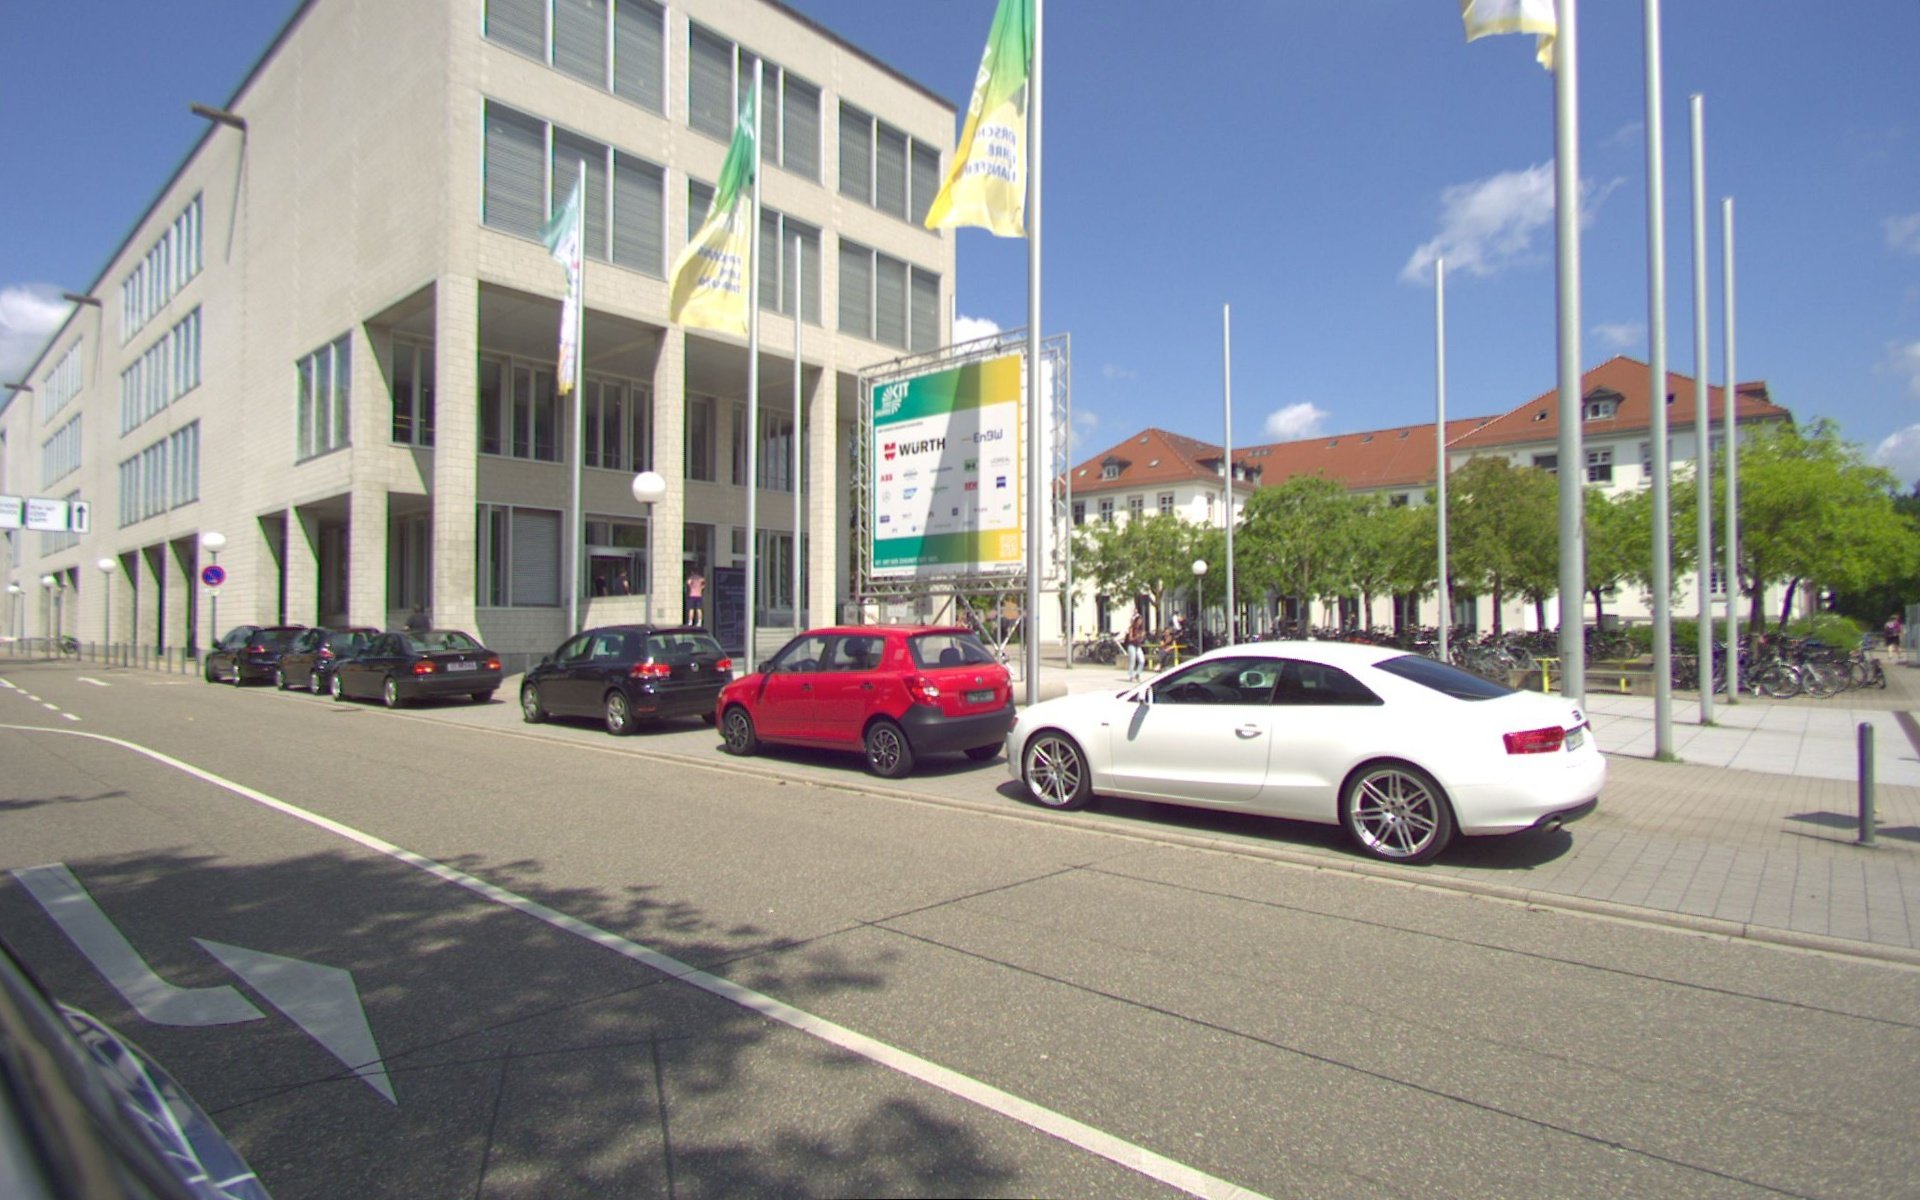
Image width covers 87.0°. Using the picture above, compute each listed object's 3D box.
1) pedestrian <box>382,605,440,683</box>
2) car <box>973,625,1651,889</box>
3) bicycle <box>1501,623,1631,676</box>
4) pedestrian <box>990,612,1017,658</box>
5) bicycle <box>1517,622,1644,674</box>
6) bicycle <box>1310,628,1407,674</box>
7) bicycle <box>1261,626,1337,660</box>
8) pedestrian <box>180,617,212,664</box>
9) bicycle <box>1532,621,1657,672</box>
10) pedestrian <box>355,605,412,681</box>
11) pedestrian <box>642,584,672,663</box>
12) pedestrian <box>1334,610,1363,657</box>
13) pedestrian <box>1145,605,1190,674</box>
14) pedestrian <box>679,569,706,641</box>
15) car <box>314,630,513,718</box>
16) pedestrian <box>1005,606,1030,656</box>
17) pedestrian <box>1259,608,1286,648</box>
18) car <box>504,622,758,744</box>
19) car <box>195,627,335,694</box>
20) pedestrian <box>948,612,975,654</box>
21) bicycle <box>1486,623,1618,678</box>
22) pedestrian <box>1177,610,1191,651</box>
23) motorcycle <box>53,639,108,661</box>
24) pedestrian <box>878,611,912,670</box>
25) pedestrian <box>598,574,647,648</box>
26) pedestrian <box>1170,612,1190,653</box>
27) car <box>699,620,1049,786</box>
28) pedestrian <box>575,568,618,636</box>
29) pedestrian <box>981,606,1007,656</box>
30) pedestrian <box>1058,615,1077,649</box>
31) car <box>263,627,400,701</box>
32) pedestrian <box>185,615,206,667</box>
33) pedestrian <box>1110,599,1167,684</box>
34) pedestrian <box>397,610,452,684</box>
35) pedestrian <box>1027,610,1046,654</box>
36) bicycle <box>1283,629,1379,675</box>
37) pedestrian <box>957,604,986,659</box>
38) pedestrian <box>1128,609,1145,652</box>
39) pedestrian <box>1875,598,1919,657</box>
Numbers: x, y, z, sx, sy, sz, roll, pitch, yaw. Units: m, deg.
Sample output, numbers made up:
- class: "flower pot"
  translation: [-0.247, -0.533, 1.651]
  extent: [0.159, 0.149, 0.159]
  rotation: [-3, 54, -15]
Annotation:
- class: "pedestrian"
  translation: [-14.689, 1.164, 27.084]
  extent: [1.163, 2.029, 0.975]
  rotation: [-2, -2, 37]
- class: "car"
  translation: [2.404, 0.948, 7.834]
  extent: [4.661, 1.406, 1.659]
  rotation: [-2, 0, 42]
- class: "bicycle"
  translation: [17.139, 1.362, 28.704]
  extent: [1.049, 1.422, 2.956]
  rotation: [0, -1, -40]
- class: "pedestrian"
  translation: [1.698, 1.376, 39.754]
  extent: [0.738, 1.787, 0.749]
  rotation: [-2, -2, 41]
- class: "bicycle"
  translation: [17.989, 1.366, 29.428]
  extent: [1.049, 1.422, 2.956]
  rotation: [0, -1, -40]
- class: "bicycle"
  translation: [13.190, 1.663, 33.630]
  extent: [1.128, 1.422, 2.961]
  rotation: [0, -1, -27]
- class: "bicycle"
  translation: [14.579, 1.829, 43.627]
  extent: [1.130, 1.422, 2.956]
  rotation: [0, -1, -40]
- class: "pedestrian"
  translation: [-33.569, 1.777, 44.466]
  extent: [1.065, 2.029, 0.839]
  rotation: [-2, -3, 39]
- class: "bicycle"
  translation: [18.847, 1.362, 30.158]
  extent: [1.049, 1.422, 2.956]
  rotation: [0, -1, -40]
- class: "pedestrian"
  translation: [-15.788, 1.160, 27.736]
  extent: [1.163, 2.029, 0.975]
  rotation: [-2, -2, 37]
- class: "pedestrian"
  translation: [-9.438, 0.731, 31.530]
  extent: [0.748, 2.440, 0.738]
  rotation: [0, -2, -3]
- class: "pedestrian"
  translation: [18.838, 1.631, 49.085]
  extent: [1.041, 2.217, 1.010]
  rotation: [-2, -3, 40]
- class: "pedestrian"
  translation: [6.030, 1.143, 29.377]
  extent: [0.944, 1.955, 0.975]
  rotation: [-2, -2, 38]
- class: "pedestrian"
  translation: [-8.200, 0.158, 31.048]
  extent: [0.693, 2.161, 0.807]
  rotation: [0, -1, -22]
- class: "car"
  translation: [-10.502, 1.319, 19.264]
  extent: [5.016, 1.388, 1.839]
  rotation: [-2, 0, 43]
- class: "pedestrian"
  translation: [2.383, 1.269, 41.937]
  extent: [0.748, 2.029, 0.739]
  rotation: [0, -1, -32]
- class: "pedestrian"
  translation: [16.352, 1.471, 52.978]
  extent: [1.043, 2.029, 0.922]
  rotation: [1, -2, -43]
- class: "car"
  translation: [-4.945, 1.114, 14.892]
  extent: [4.196, 1.478, 1.729]
  rotation: [-2, 0, 43]
- class: "car"
  translation: [-17.735, 1.476, 25.727]
  extent: [4.716, 1.478, 1.840]
  rotation: [-2, 0, 42]
- class: "pedestrian"
  translation: [0.052, 1.276, 39.367]
  extent: [0.722, 1.626, 0.737]
  rotation: [1, -2, -44]
- class: "bicycle"
  translation: [16.288, 1.357, 27.928]
  extent: [1.049, 1.422, 2.956]
  rotation: [0, -1, -40]
- class: "pedestrian"
  translation: [12.158, 1.675, 54.866]
  extent: [0.674, 2.217, 0.620]
  rotation: [-1, -2, 17]
- class: "motorcycle"
  translation: [-48.023, 2.722, 55.294]
  extent: [0.772, 1.146, 2.149]
  rotation: [-2, -2, 31]
- class: "pedestrian"
  translation: [-2.019, 1.244, 31.297]
  extent: [0.757, 1.770, 0.730]
  rotation: [-2, -2, 32]
- class: "pedestrian"
  translation: [-9.487, 0.315, 28.437]
  extent: [0.910, 2.029, 0.967]
  rotation: [-2, -2, 41]
- class: "pedestrian"
  translation: [12.162, 1.789, 56.003]
  extent: [0.956, 2.217, 0.965]
  rotation: [-1, -2, 19]
- class: "car"
  translation: [-1.079, 1.010, 11.270]
  extent: [3.910, 1.478, 1.659]
  rotation: [-2, 0, 42]
- class: "pedestrian"
  translation: [-11.070, 0.072, 30.827]
  extent: [0.974, 2.029, 0.740]
  rotation: [-1, -1, 21]
- class: "pedestrian"
  translation: [1.396, 1.277, 41.817]
  extent: [0.748, 2.029, 0.739]
  rotation: [0, -1, -32]
- class: "pedestrian"
  translation: [6.350, 1.879, 59.833]
  extent: [0.875, 2.029, 0.739]
  rotation: [0, -1, -26]
- class: "car"
  translation: [-14.252, 1.383, 22.890]
  extent: [3.705, 1.478, 1.621]
  rotation: [-2, 0, 42]
- class: "pedestrian"
  translation: [-30.630, 1.629, 40.523]
  extent: [0.835, 2.029, 0.537]
  rotation: [-2, -2, 44]
- class: "pedestrian"
  translation: [4.411, 1.023, 24.977]
  extent: [0.987, 2.029, 1.046]
  rotation: [-2, -2, 38]
- class: "pedestrian"
  translation: [-15.177, 1.323, 28.700]
  extent: [1.163, 2.029, 0.975]
  rotation: [-2, -2, 37]
- class: "pedestrian"
  translation: [3.201, 1.341, 42.399]
  extent: [0.752, 1.851, 0.699]
  rotation: [-1, -1, 7]
- class: "bicycle"
  translation: [12.109, 1.666, 33.164]
  extent: [1.128, 1.422, 2.961]
  rotation: [0, -1, -27]
- class: "pedestrian"
  translation: [0.388, 1.040, 33.223]
  extent: [0.753, 1.770, 0.733]
  rotation: [-1, -2, 18]
- class: "pedestrian"
  translation: [8.536, 1.466, 48.936]
  extent: [0.752, 2.029, 0.734]
  rotation: [-1, -1, 9]
- class: "pedestrian"
  translation: [36.243, 1.063, 39.077]
  extent: [1.140, 2.217, 1.044]
  rotation: [1, -3, -32]
